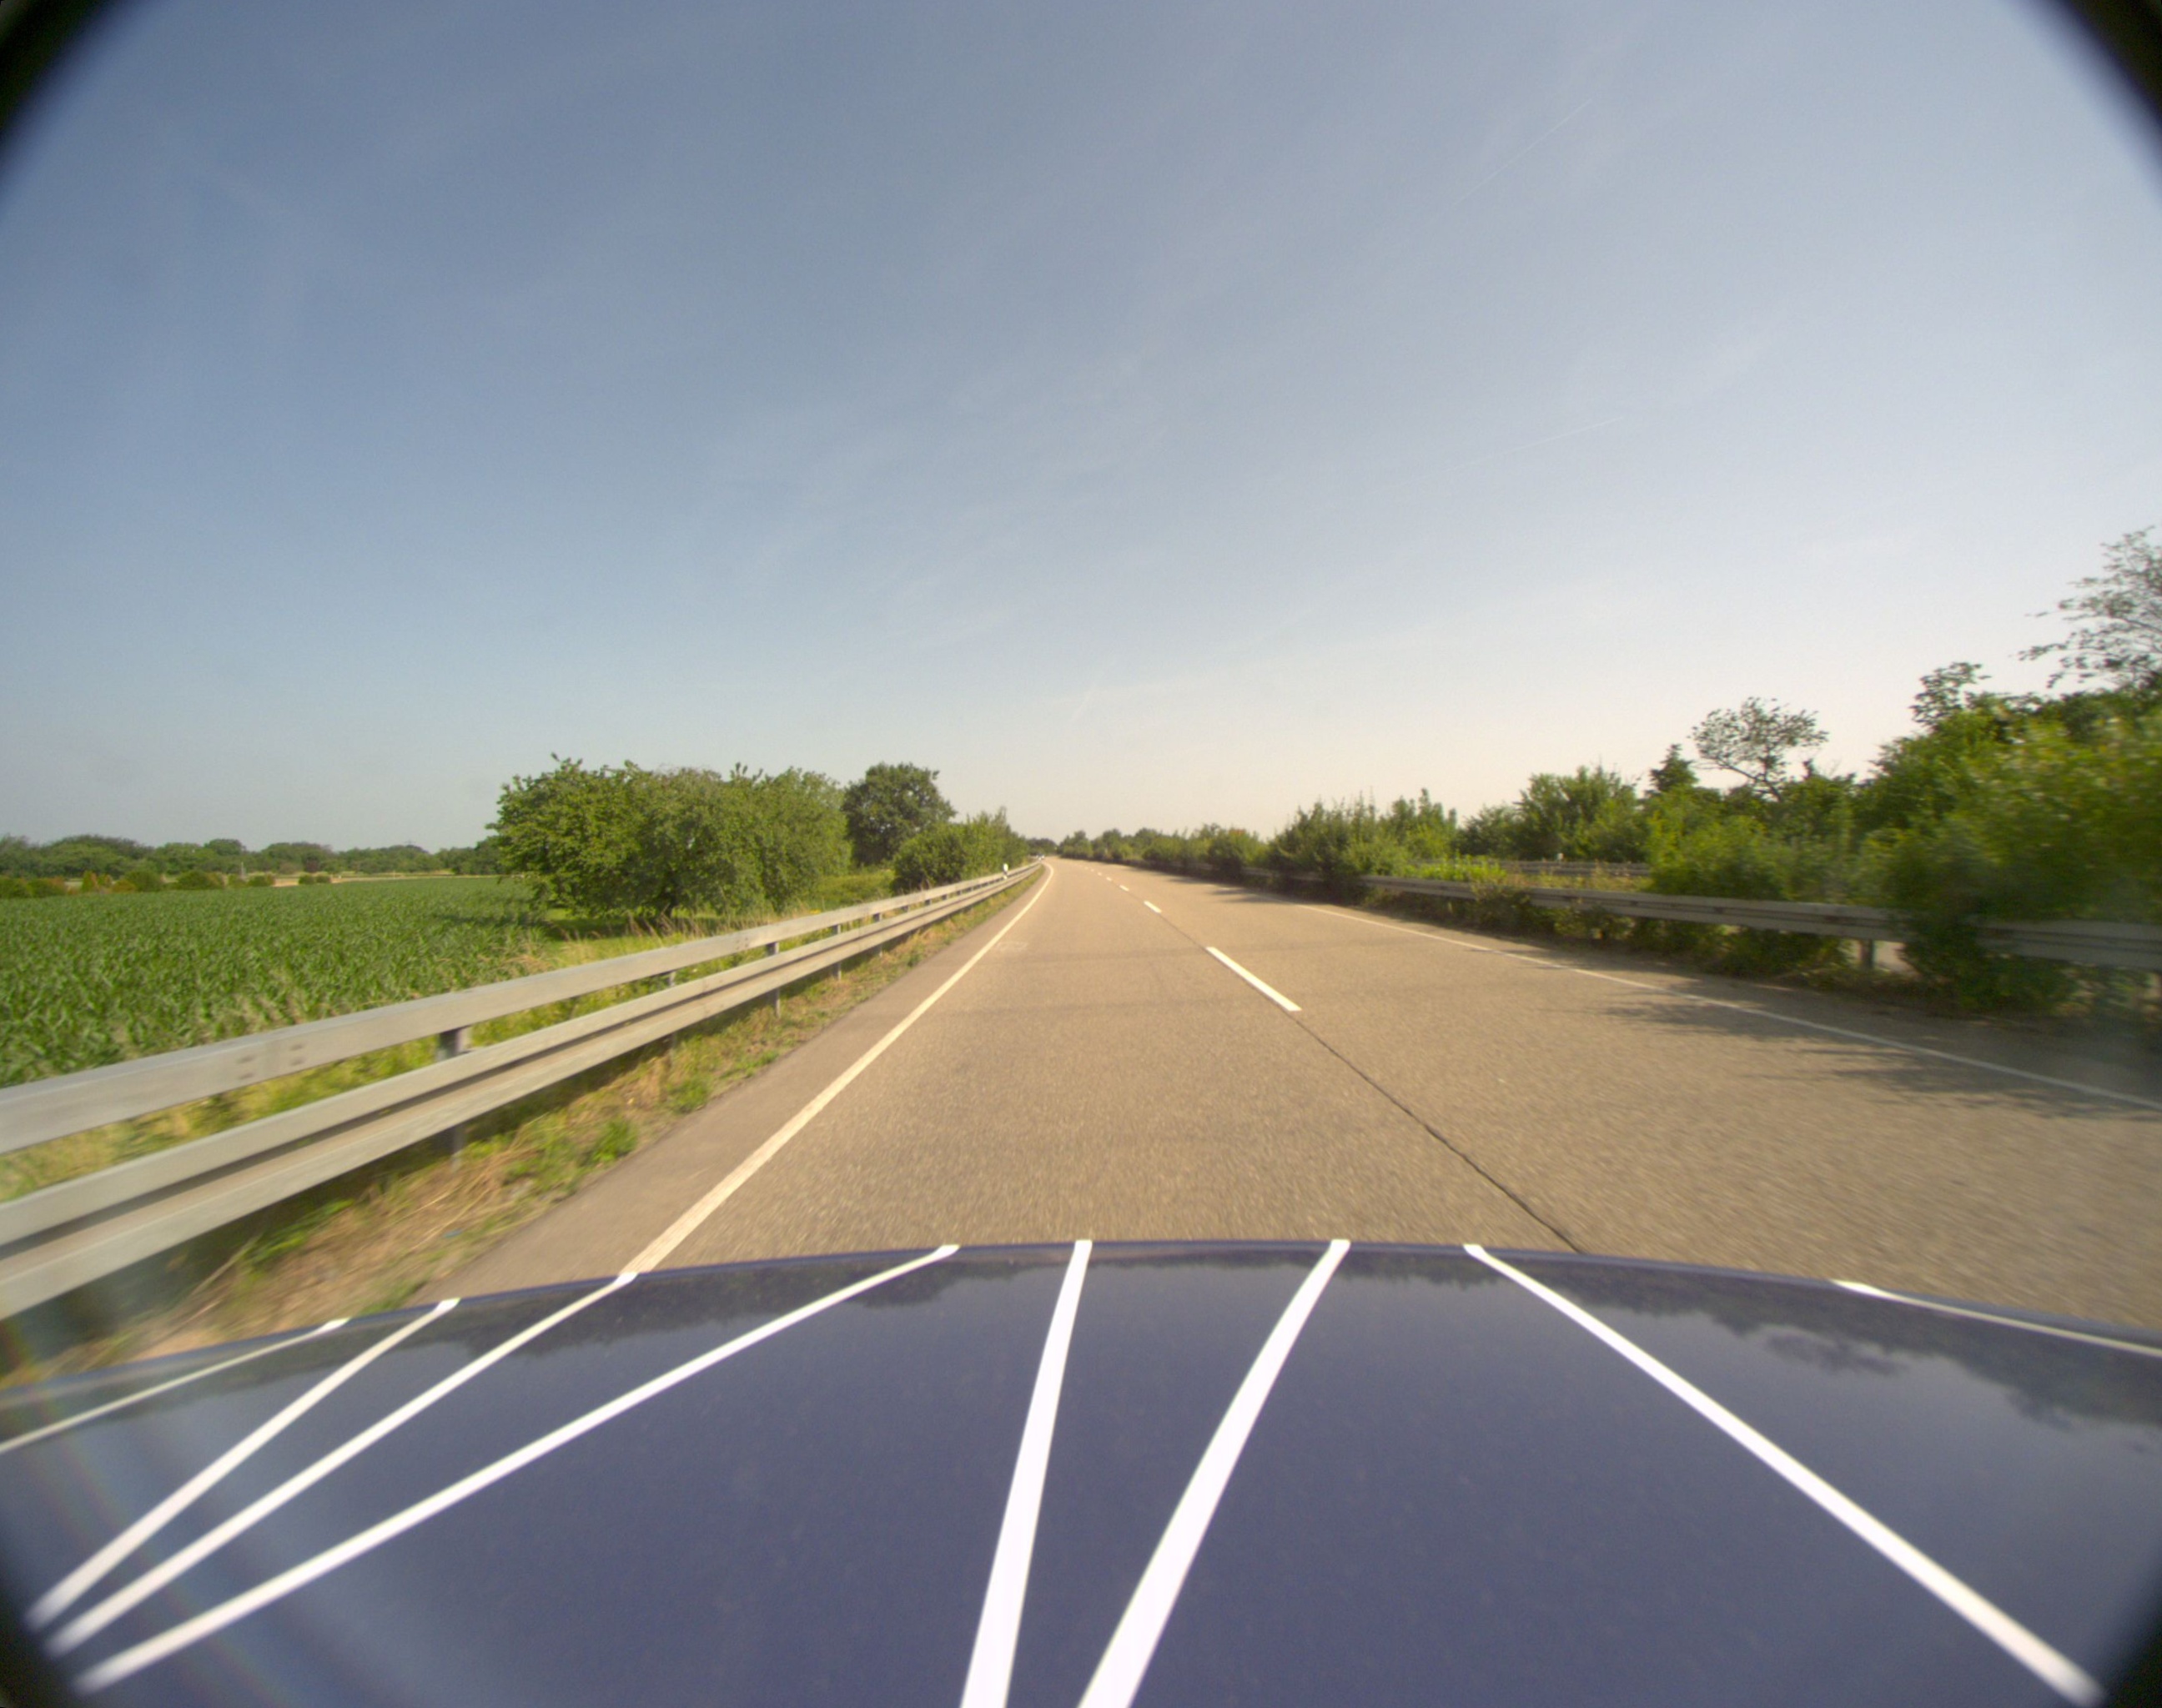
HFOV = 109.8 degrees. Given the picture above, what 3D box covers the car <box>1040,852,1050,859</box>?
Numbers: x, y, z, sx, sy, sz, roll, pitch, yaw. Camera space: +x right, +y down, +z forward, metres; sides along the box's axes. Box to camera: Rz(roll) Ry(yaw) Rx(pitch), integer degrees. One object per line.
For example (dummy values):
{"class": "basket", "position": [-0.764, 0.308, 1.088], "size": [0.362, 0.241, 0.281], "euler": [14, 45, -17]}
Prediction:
{"class": "car", "position": [-9.071, 0.399, 189.203], "size": [1.704, 1.474, 3.596], "euler": [-3, 0, -14]}
